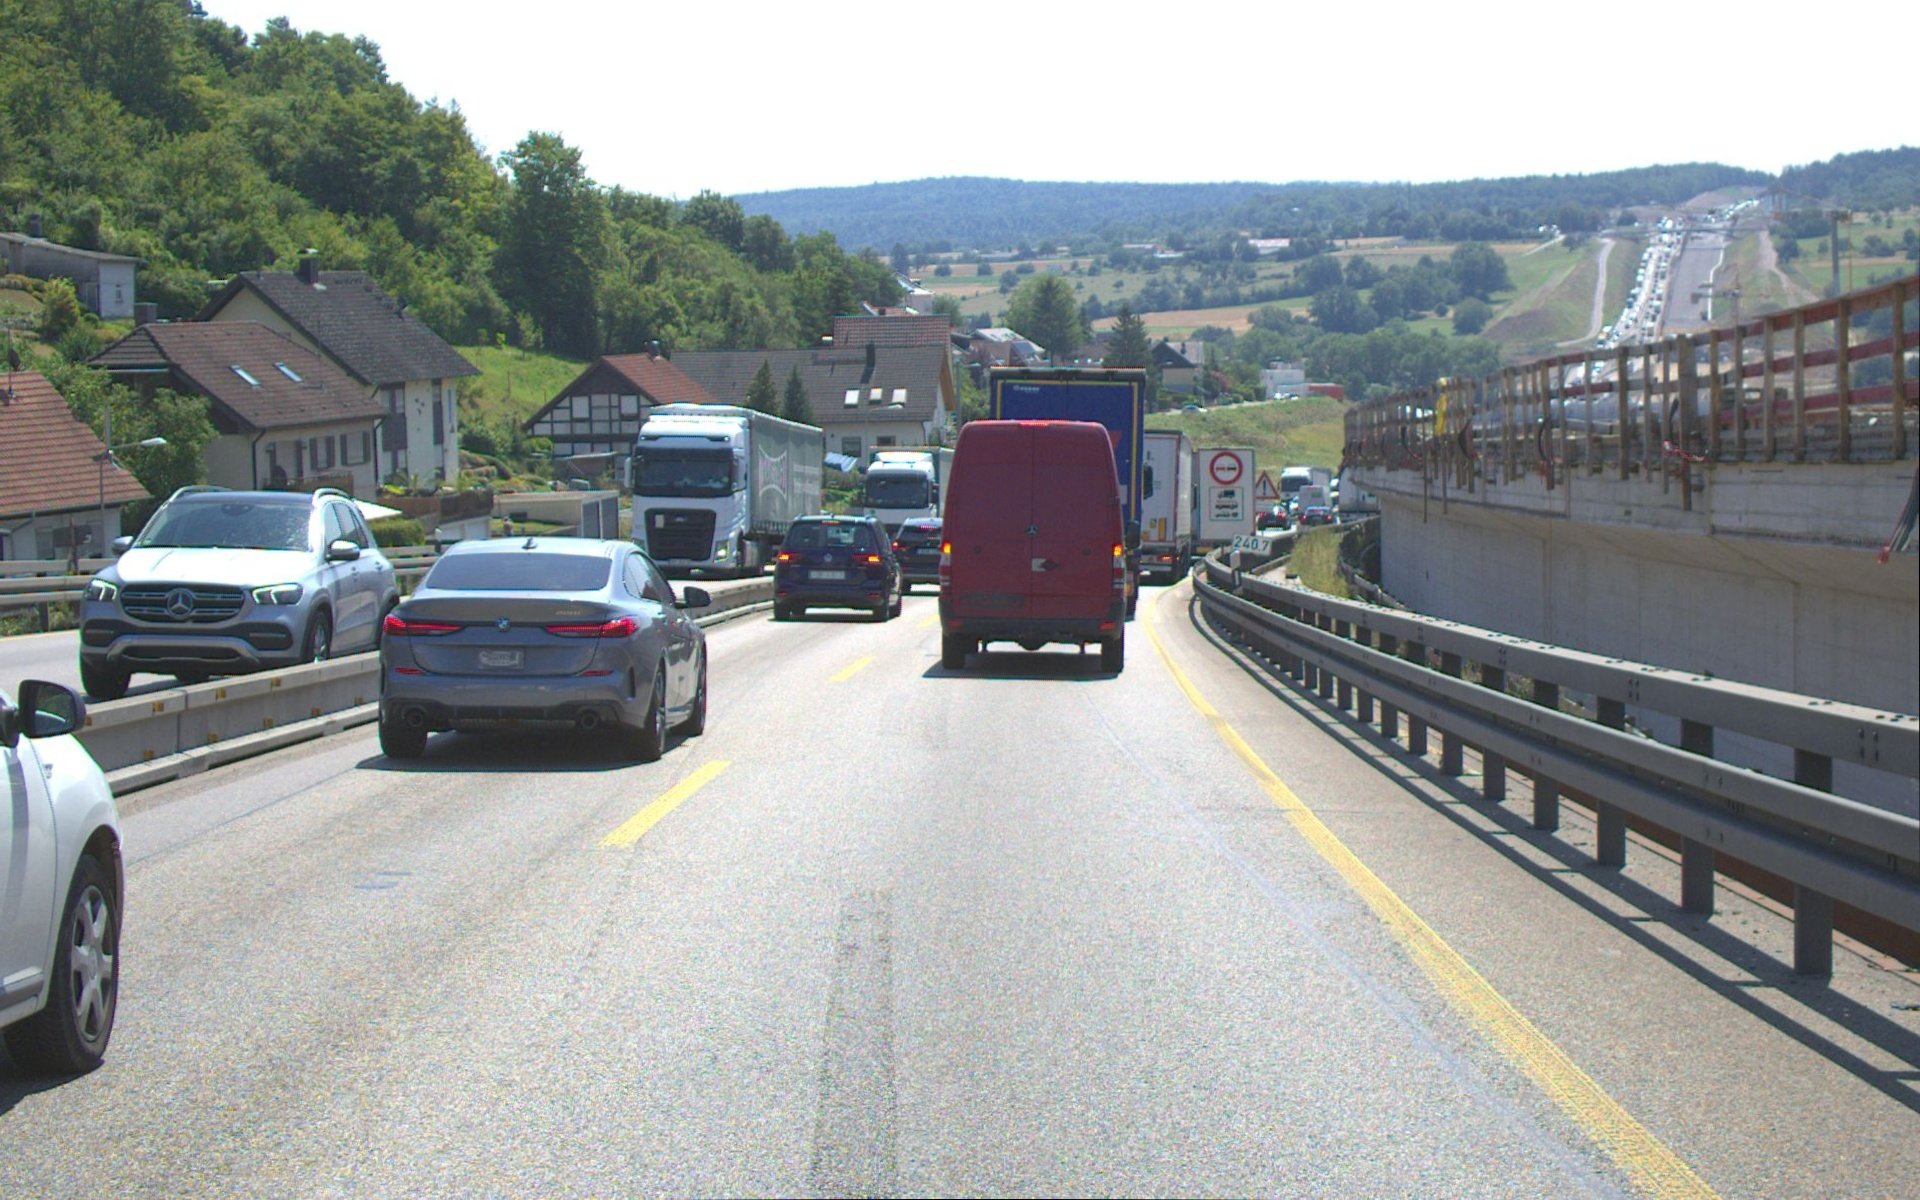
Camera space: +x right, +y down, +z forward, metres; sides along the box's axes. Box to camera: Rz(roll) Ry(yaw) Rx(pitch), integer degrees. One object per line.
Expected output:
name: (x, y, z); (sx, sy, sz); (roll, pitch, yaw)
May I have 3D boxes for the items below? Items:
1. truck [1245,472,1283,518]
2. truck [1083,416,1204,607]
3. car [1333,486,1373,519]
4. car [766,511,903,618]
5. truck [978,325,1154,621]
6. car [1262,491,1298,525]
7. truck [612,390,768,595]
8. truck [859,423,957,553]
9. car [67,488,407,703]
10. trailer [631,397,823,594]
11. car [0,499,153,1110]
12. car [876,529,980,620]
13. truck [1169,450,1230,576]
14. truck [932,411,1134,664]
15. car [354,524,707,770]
truck: (10.819, -3.730, 122.303); (1.314, 1.537, 3.151); (1, 0, 5)
truck: (4.823, -2.276, 91.882); (2.786, 4.799, 9.685); (1, 0, 1)
car: (25.511, -6.312, 223.058); (2.132, 2.007, 3.998); (1, 0, 12)
car: (-1.948, -0.555, 54.345); (1.810, 1.602, 3.719); (1, 0, 3)
truck: (1.816, -2.120, 61.243); (2.786, 4.799, 9.685); (1, 0, 1)
car: (19.654, -5.646, 211.141); (1.804, 2.007, 3.998); (2, 1, 10)
truck: (-6.546, -2.571, 84.006); (3.061, 4.805, 4.645); (1, 0, 4)
truck: (-1.866, -4.042, 125.938); (2.847, 4.564, 5.786); (1, 0, 6)
car: (-6.219, -0.088, 30.130); (1.912, 1.699, 4.736); (1, 1, 1)
trailer: (-6.021, -2.606, 91.701); (3.065, 4.799, 14.000); (1, 0, 4)
car: (-3.165, 0.515, 7.713); (1.651, 1.478, 4.266); (-1, 1, 0)
car: (-0.647, -0.537, 72.791); (1.730, 1.832, 3.999); (1, 0, 6)
truck: (8.581, -3.081, 122.883); (1.994, 4.366, 3.999); (1, 0, 5)
truck: (0.850, -0.659, 37.440); (1.994, 2.570, 4.000); (1, 0, 3)
car: (-2.768, 0.247, 22.979); (1.794, 1.480, 4.050); (1, 1, 1)
